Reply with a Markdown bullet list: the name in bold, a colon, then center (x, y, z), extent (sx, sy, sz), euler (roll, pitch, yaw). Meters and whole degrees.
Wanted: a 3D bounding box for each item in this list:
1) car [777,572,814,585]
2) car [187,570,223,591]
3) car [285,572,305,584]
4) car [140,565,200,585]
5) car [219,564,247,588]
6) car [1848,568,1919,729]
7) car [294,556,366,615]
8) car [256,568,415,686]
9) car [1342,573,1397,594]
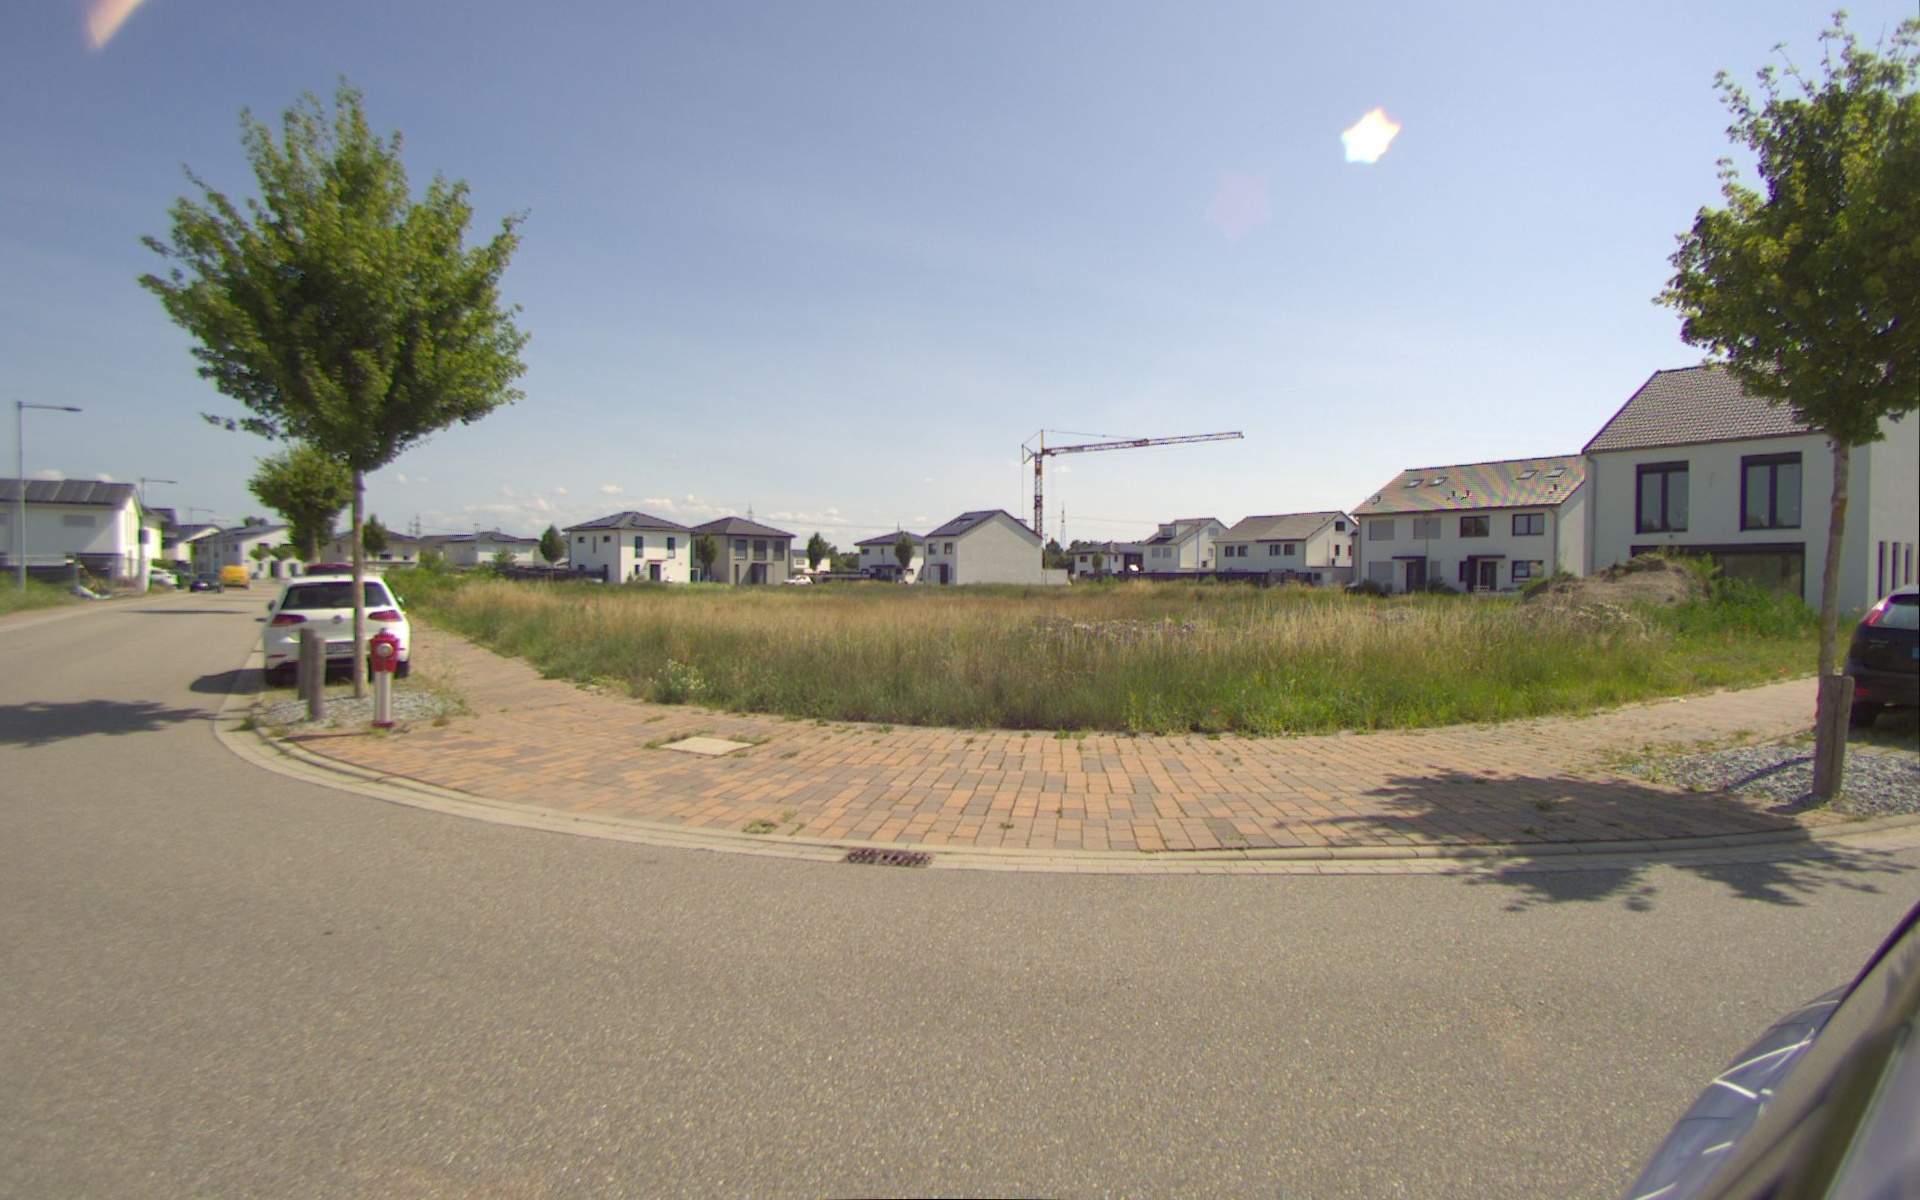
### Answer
- **car**: center (-18.501, -2.382, 113.757), extent (1.744, 1.415, 3.938), euler (0, 1, 43)
- **car**: center (-53.439, -1.406, 71.691), extent (1.717, 1.422, 4.162), euler (2, 0, -34)
- **car**: center (-81.346, -2.677, 123.791), extent (1.604, 1.339, 3.828), euler (0, -1, -40)
- **car**: center (-74.130, -2.361, 95.054), extent (1.808, 1.524, 4.111), euler (1, -2, 41)
- **car**: center (-63.899, -2.107, 88.939), extent (1.912, 2.006, 4.215), euler (0, 1, -37)
- **car**: center (10.849, 0.451, 10.532), extent (4.120, 1.512, 1.847), euler (0, 0, -40)
- **car**: center (-19.727, -0.503, 31.619), extent (1.749, 1.683, 4.436), euler (-2, 3, -34)
- **car**: center (-9.364, 0.276, 15.162), extent (1.747, 1.437, 4.168), euler (-3, 3, -33)
- **car**: center (30.845, -1.247, 76.170), extent (3.920, 1.593, 1.817), euler (0, 1, -30)
